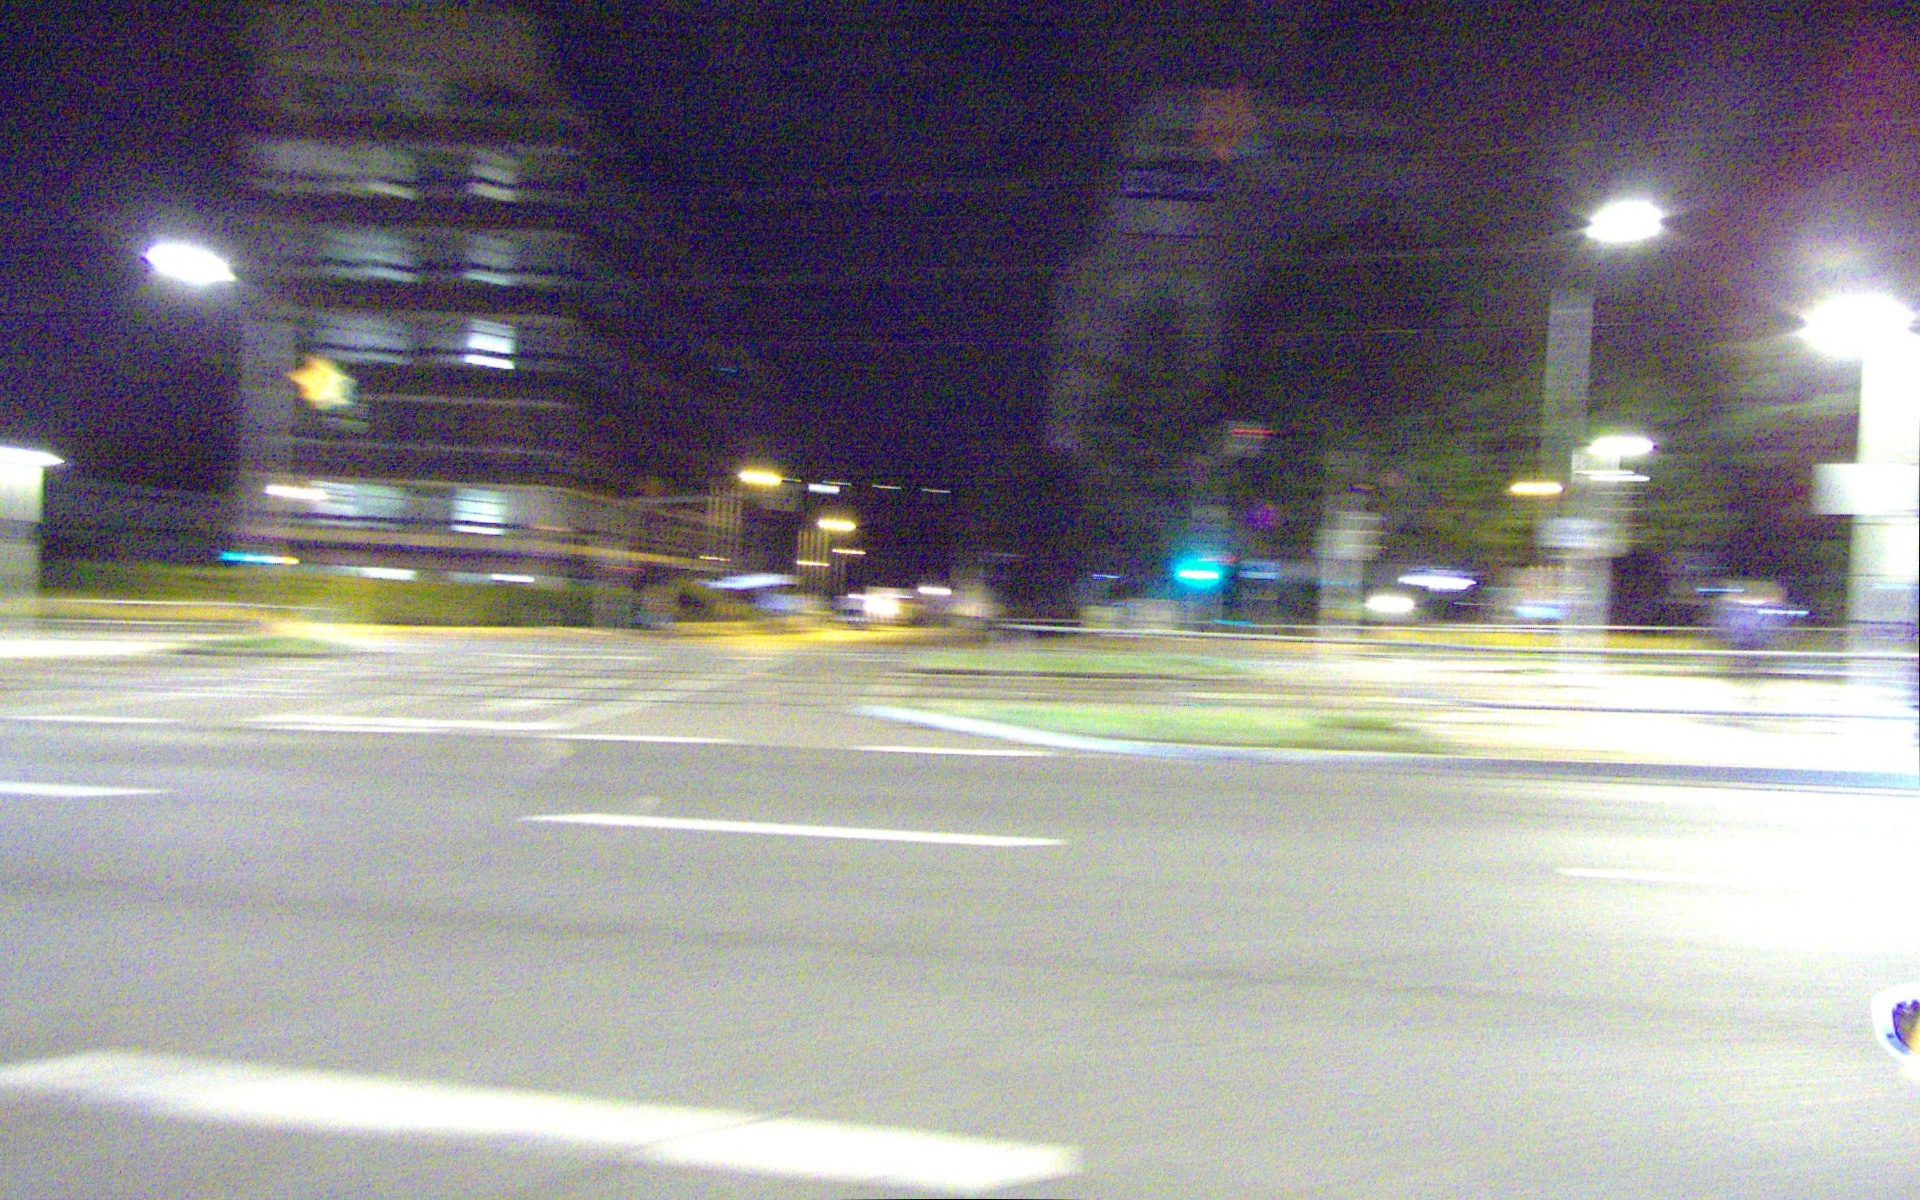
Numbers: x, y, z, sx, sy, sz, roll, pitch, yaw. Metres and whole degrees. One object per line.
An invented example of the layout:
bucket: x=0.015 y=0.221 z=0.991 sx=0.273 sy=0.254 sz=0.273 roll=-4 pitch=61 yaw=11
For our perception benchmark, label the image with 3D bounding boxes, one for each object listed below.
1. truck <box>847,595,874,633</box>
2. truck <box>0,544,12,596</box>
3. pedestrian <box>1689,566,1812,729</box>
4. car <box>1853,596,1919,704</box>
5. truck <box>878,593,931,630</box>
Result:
truck: x=-10.478 y=1.454 z=105.929 sx=2.542 sy=3.756 sz=5.733 roll=2 pitch=0 yaw=-5
truck: x=-61.047 y=-1.956 z=60.269 sx=5.797 sy=3.128 sz=2.914 roll=2 pitch=0 yaw=6
pedestrian: x=8.943 y=0.521 z=11.395 sx=0.742 sy=1.768 sz=0.834 roll=-1 pitch=1 yaw=3
car: x=20.255 y=0.931 z=19.464 sx=3.919 sy=2.040 sz=2.001 roll=-1 pitch=-1 yaw=9
truck: x=-7.727 y=1.524 z=137.867 sx=4.758 sy=4.607 sz=12.627 roll=2 pitch=0 yaw=-15
